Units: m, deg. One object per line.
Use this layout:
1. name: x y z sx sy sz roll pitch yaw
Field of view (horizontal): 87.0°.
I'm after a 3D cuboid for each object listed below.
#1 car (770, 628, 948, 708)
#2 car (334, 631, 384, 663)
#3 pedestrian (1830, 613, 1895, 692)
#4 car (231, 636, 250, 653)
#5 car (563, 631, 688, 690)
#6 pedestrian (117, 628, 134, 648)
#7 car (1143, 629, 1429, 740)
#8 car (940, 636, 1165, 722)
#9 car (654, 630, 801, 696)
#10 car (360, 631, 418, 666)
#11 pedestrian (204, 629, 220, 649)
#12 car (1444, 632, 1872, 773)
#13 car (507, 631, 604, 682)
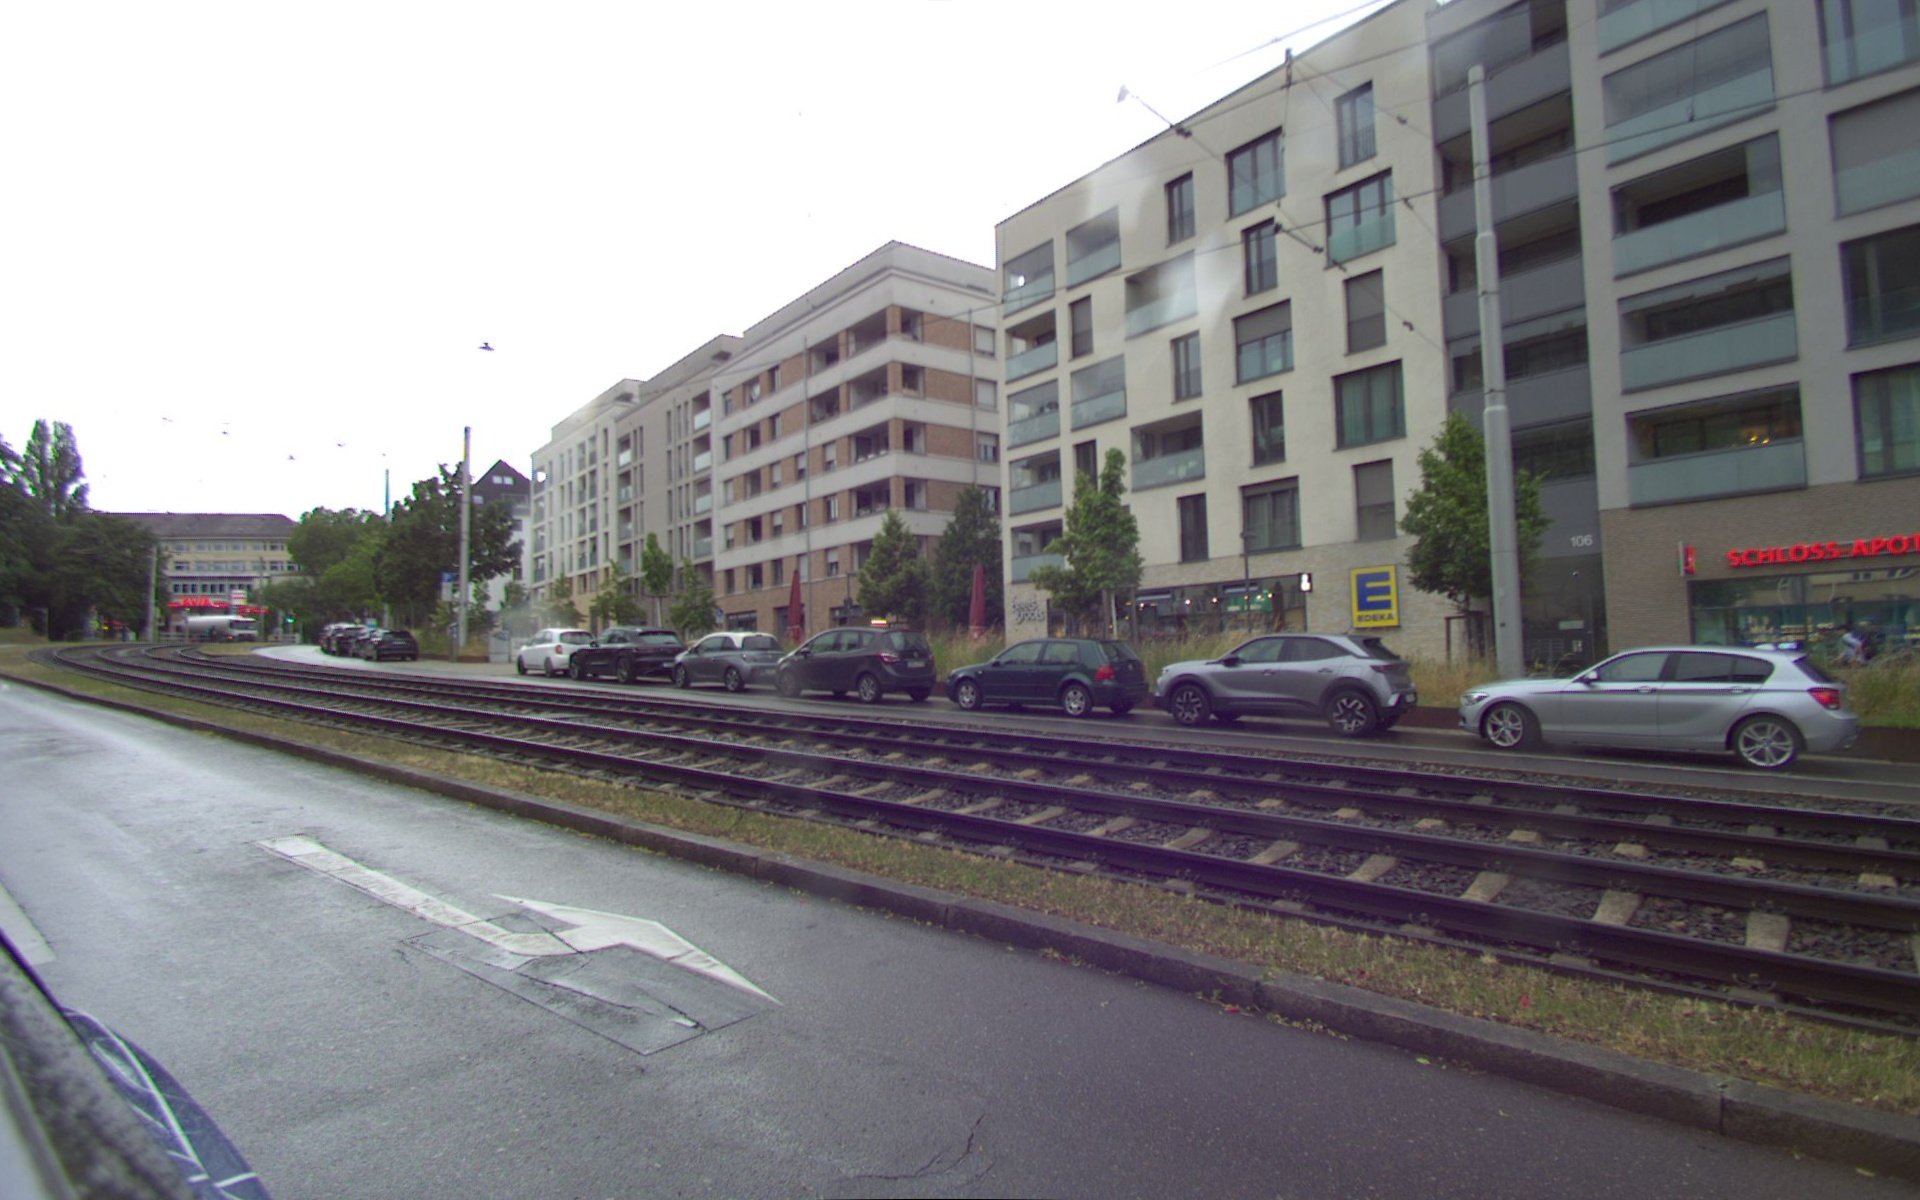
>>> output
1. car: -2.280 1.428 22.294 3.926 1.575 1.663 -1 -1 40
2. car: -31.445 2.427 52.893 1.630 1.475 3.676 -1 0 -40
3. pedestrian: 17.295 0.985 19.397 0.647 1.460 0.805 -1 0 -37
4. car: -80.501 4.966 113.266 1.641 1.619 3.818 -1 0 -34
5. car: -9.692 1.666 29.116 1.660 1.516 4.408 0 -1 -44
6. pedestrian: -73.845 3.354 89.557 0.805 1.777 0.750 2 -4 -10
7. car: 5.151 1.247 16.221 4.042 1.541 1.665 -1 -1 36
8. car: 1.667 1.412 19.116 4.030 1.391 1.663 -1 -1 40
9. car: -6.009 1.557 25.939 3.926 1.516 1.663 -1 -1 40
10. car: -26.318 2.200 46.599 1.630 1.475 3.676 -1 0 -40
11. pedestrian: -69.336 3.595 93.810 0.743 1.777 0.813 0 -4 18
12. car: 8.803 1.180 13.074 4.326 1.475 1.663 -1 -1 40
13. car: -13.133 1.775 32.737 1.627 1.516 3.784 0 -1 -44
